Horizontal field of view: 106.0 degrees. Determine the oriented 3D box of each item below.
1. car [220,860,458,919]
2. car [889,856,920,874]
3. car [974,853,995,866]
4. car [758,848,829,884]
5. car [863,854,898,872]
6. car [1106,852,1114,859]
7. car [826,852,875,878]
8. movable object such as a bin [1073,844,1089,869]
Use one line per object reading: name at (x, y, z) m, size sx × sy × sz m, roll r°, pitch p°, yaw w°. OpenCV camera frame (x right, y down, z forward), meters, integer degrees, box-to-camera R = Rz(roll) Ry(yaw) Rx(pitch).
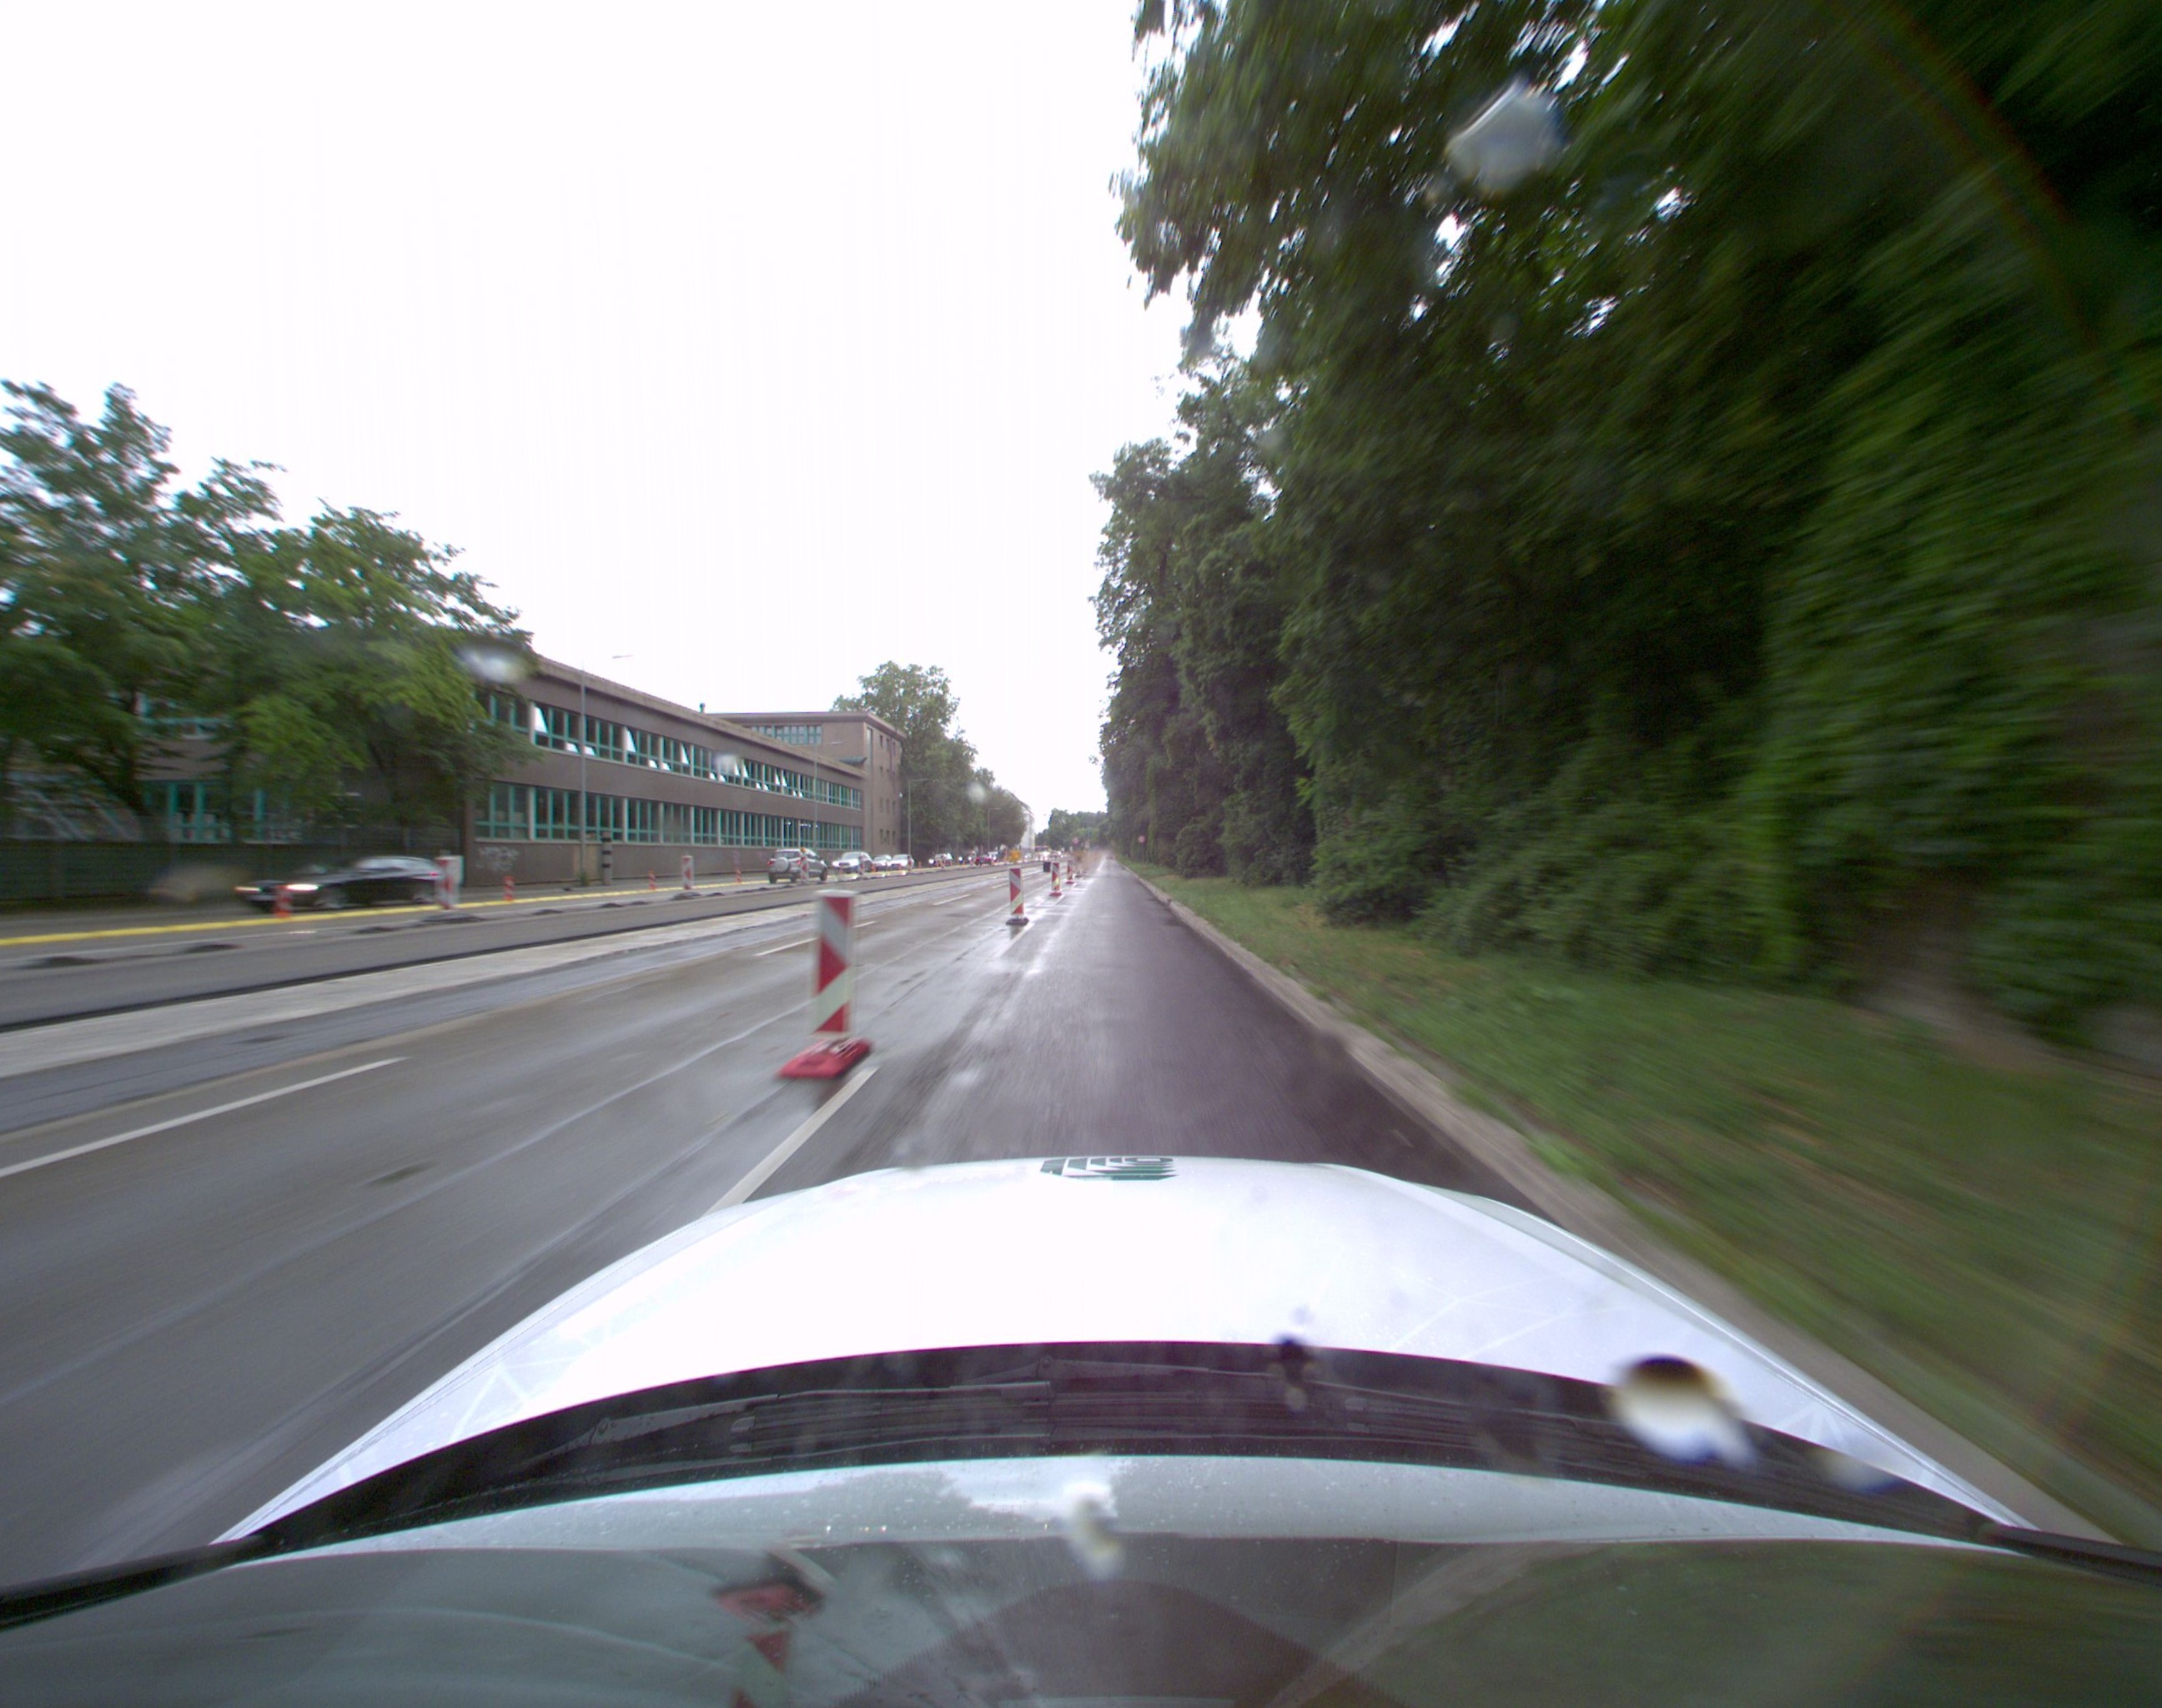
car at (-20.052, 0.888, 22.383) m, size 2.038 × 1.454 × 4.766 m, roll 0°, pitch 0°, yaw 2°
car at (-15.531, 0.927, 71.820) m, size 1.797 × 1.534 × 3.993 m, roll 0°, pitch 0°, yaw 2°
car at (-11.701, 0.632, 98.800) m, size 1.986 × 1.519 × 4.001 m, roll 0°, pitch 0°, yaw 1°
car at (-13.727, 0.562, 39.155) m, size 1.847 × 1.648 × 4.001 m, roll 0°, pitch 0°, yaw 2°
car at (-18.504, 0.850, 75.329) m, size 1.986 × 1.586 × 4.180 m, roll 1°, pitch 0°, yaw 2°
car at (7.354, 0.376, 209.364) m, size 1.986 × 1.673 × 4.002 m, roll 0°, pitch 0°, yaw 2°
car at (-16.536, 0.790, 58.711) m, size 1.980 × 1.768 × 4.678 m, roll 0°, pitch 0°, yaw 3°
movable object such as a bin at (0.000, 0.407, 114.641) m, size 1.986 × 3.367 × 5.985 m, roll 0°, pitch 0°, yaw 2°
